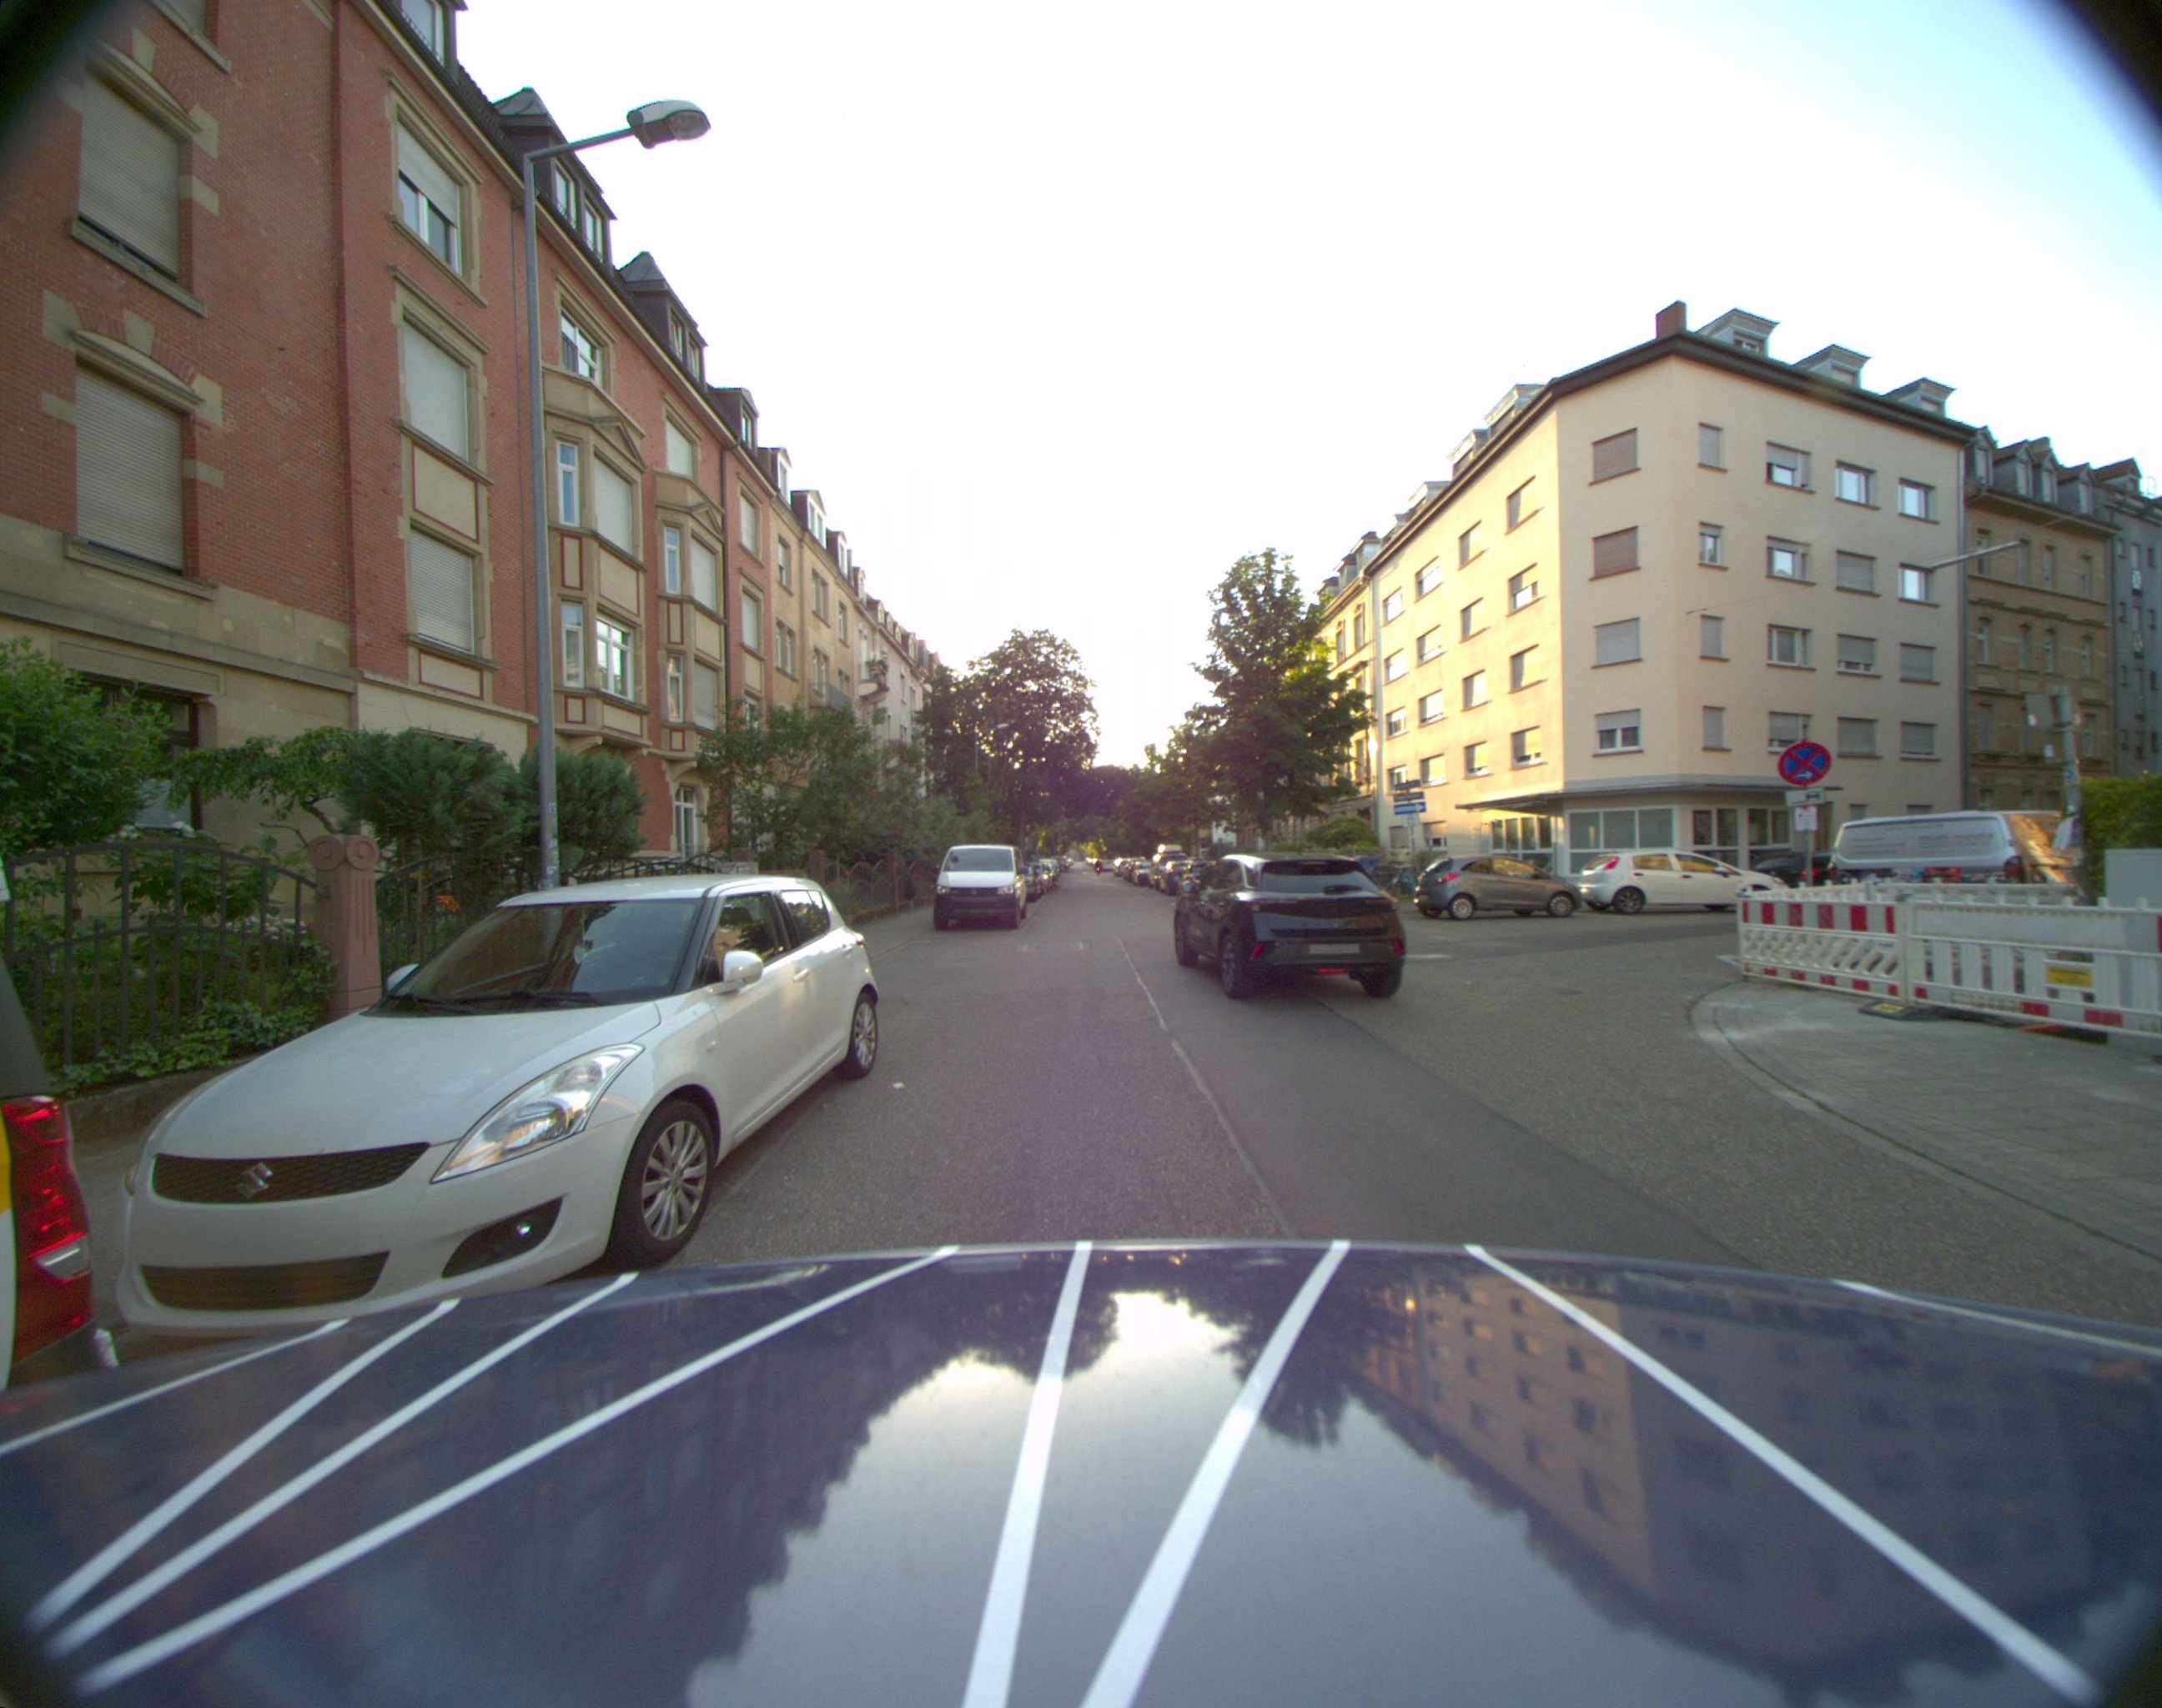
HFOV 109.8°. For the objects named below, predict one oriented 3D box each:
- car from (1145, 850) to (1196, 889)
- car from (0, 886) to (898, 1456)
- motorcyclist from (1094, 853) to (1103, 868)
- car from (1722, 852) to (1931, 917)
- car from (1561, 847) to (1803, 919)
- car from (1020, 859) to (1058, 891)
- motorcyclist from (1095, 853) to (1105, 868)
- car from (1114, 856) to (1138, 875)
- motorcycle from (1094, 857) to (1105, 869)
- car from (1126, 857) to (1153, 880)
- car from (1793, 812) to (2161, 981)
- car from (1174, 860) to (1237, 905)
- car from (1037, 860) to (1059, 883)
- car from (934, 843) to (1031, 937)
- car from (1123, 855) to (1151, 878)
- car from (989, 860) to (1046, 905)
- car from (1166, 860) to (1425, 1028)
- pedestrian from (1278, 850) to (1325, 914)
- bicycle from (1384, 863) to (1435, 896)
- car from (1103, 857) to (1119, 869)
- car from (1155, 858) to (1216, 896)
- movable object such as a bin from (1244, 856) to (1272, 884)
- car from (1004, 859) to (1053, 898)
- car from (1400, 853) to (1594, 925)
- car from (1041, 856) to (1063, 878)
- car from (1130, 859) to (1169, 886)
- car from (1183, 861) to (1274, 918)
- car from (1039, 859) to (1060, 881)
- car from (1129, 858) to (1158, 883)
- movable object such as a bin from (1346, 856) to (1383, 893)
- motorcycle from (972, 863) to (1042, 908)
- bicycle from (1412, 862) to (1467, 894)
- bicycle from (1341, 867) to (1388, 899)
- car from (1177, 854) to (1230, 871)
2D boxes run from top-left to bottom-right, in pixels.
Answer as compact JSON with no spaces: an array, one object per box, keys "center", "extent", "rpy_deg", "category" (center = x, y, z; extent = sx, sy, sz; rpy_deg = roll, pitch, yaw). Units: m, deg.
[{"center":[4.383,0.727,37.819],"extent":[1.866,1.768,4.622],"rpy_deg":[-2,0,-1],"category":"car"},{"center":[-2.407,1.019,4.141],"extent":[1.678,1.468,3.862],"rpy_deg":[-2,0,2],"category":"car"},{"center":[1.837,0.663,78.914],"extent":[0.789,1.531,0.546],"rpy_deg":[2,1,10],"category":"motorcyclist"},{"center":[18.593,0.708,18.998],"extent":[4.082,1.430,1.996],"rpy_deg":[-1,0,-17],"category":"car"},{"center":[14.216,0.671,18.238],"extent":[4.066,1.499,1.975],"rpy_deg":[-3,0,12],"category":"car"},{"center":[-2.185,1.088,40.135],"extent":[1.590,1.516,3.602],"rpy_deg":[-3,0,2],"category":"car"},{"center":[1.995,0.690,79.679],"extent":[0.891,1.496,0.970],"rpy_deg":[2,1,10],"category":"motorcyclist"},{"center":[4.117,0.988,69.717],"extent":[1.677,1.627,3.939],"rpy_deg":[-2,0,-3],"category":"car"},{"center":[1.939,0.954,79.476],"extent":[0.848,1.202,2.076],"rpy_deg":[2,1,10],"category":"motorcycle"},{"center":[4.046,1.010,53.238],"extent":[1.682,1.489,3.625],"rpy_deg":[-2,0,2],"category":"car"},{"center":[13.095,0.468,10.917],"extent":[5.300,1.963,2.204],"rpy_deg":[-1,0,-23],"category":"car"},{"center":[4.444,0.973,27.659],"extent":[1.746,1.412,4.143],"rpy_deg":[-2,0,2],"category":"car"},{"center":[-2.287,1.199,53.223],"extent":[1.479,1.498,3.928],"rpy_deg":[-2,0,-2],"category":"car"},{"center":[-2.325,0.785,19.324],"extent":[1.866,2.027,5.544],"rpy_deg":[0,0,-1],"category":"car"},{"center":[4.264,0.934,58.280],"extent":[1.866,1.653,4.021],"rpy_deg":[-2,0,0],"category":"car"},{"center":[-2.449,1.082,30.387],"extent":[1.724,1.542,4.325],"rpy_deg":[-2,0,2],"category":"car"},{"center":[2.238,0.850,9.093],"extent":[1.784,1.508,3.998],"rpy_deg":[0,0,-3],"category":"car"},{"center":[6.225,0.786,21.442],"extent":[0.889,1.712,0.960],"rpy_deg":[-2,1,42],"category":"pedestrian"},{"center":[11.411,0.874,26.411],"extent":[0.502,1.086,1.545],"rpy_deg":[-3,0,-38],"category":"bicycle"},{"center":[4.003,1.180,103.515],"extent":[1.953,1.484,3.738],"rpy_deg":[-2,0,-1],"category":"car"},{"center":[4.423,0.937,32.814],"extent":[1.866,1.404,4.590],"rpy_deg":[-2,0,-1],"category":"car"},{"center":[9.153,0.792,39.363],"extent":[0.948,1.379,1.551],"rpy_deg":[-3,0,-4],"category":"movable object such as a bin"},{"center":[-2.391,1.075,35.640],"extent":[1.761,1.573,4.842],"rpy_deg":[-3,0,2],"category":"car"},{"center":[9.696,0.800,17.919],"extent":[3.515,1.499,1.845],"rpy_deg":[-2,-1,-1],"category":"car"},{"center":[-2.412,1.085,63.240],"extent":[1.737,1.692,4.167],"rpy_deg":[-2,0,-2],"category":"car"},{"center":[3.937,1.048,44.063],"extent":[1.733,1.433,4.023],"rpy_deg":[-2,0,-2],"category":"car"},{"center":[4.301,0.981,22.833],"extent":[1.679,1.453,4.462],"rpy_deg":[-2,0,-2],"category":"car"},{"center":[-2.348,1.169,57.619],"extent":[1.502,1.538,3.338],"rpy_deg":[-2,0,-2],"category":"car"},{"center":[3.955,1.046,48.780],"extent":[1.441,1.485,3.298],"rpy_deg":[-2,0,-2],"category":"car"},{"center":[10.887,0.755,29.247],"extent":[0.868,1.344,1.398],"rpy_deg":[-3,0,1],"category":"movable object such as a bin"},{"center":[-2.560,1.061,26.317],"extent":[2.099,1.474,1.130],"rpy_deg":[0,1,-34],"category":"motorcycle"},{"center":[12.521,0.840,26.556],"extent":[0.386,1.086,1.707],"rpy_deg":[-3,0,-37],"category":"bicycle"},{"center":[9.839,0.985,26.447],"extent":[0.689,1.019,1.931],"rpy_deg":[-3,0,-6],"category":"bicycle"},{"center":[10.829,0.708,67.470],"extent":[4.413,1.333,1.625],"rpy_deg":[-2,0,1],"category":"car"}]
